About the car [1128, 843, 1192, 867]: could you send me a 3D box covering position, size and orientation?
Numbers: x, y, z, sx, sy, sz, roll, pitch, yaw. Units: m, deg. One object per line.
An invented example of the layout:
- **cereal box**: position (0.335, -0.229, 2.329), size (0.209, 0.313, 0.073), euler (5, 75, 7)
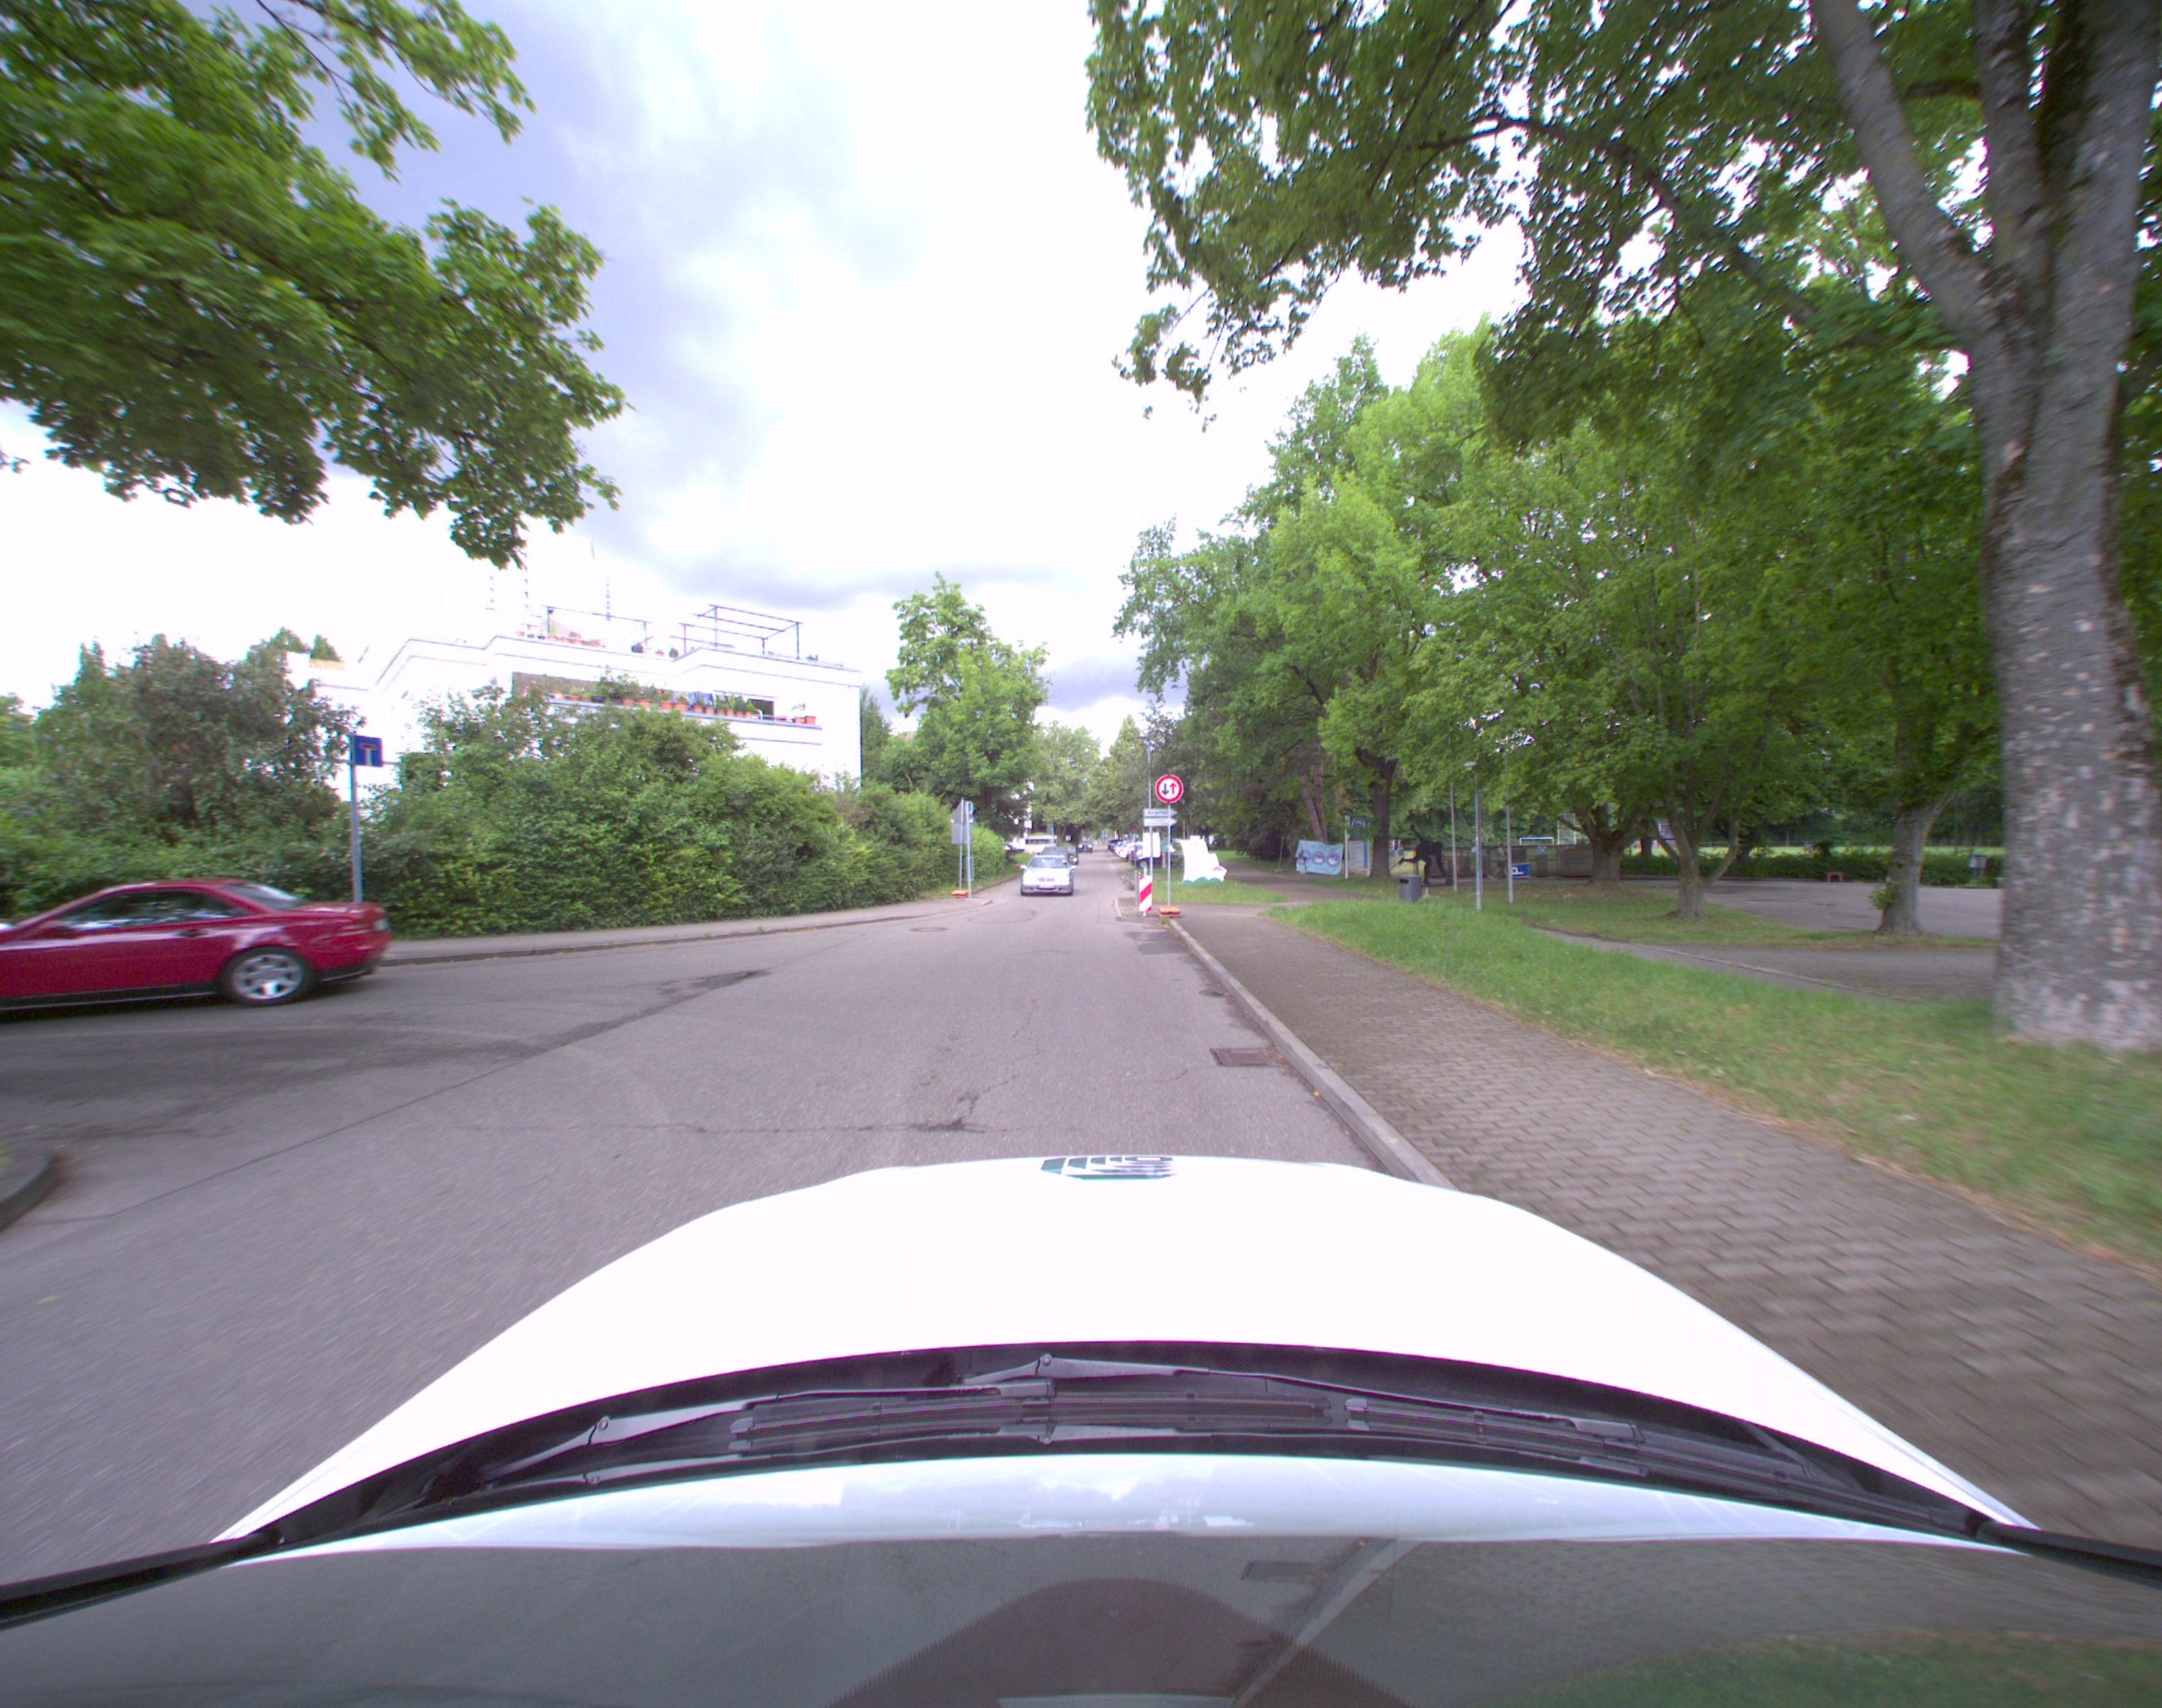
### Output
- **car**: position (5.272, 0.072, 54.664), size (4.050, 1.434, 2.000), euler (-2, -1, 0)

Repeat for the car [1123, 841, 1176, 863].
- **car**: position (5.594, -0.184, 66.716), size (4.053, 1.488, 1.821), euler (-5, 1, -3)

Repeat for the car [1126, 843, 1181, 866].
- **car**: position (5.492, 0.003, 62.193), size (4.050, 1.568, 1.822), euler (-2, 1, 0)

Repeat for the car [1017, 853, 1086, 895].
- **car**: position (-0.931, 0.645, 28.226), size (1.772, 1.306, 4.304), euler (-1, 1, 6)

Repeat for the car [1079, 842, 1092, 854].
- **car**: position (0.655, -0.928, 121.089), size (1.962, 1.747, 4.338), euler (-1, 1, 0)

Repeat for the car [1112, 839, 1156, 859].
- **car**: position (5.314, -0.518, 81.982), size (4.053, 1.687, 1.821), euler (-5, 1, -3)

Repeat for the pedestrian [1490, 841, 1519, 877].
- **pedestrian**: position (20.231, 0.232, 38.904), size (1.137, 1.674, 0.798), euler (-3, -1, 26)

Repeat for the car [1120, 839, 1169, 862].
- **car**: position (5.582, -0.322, 72.378), size (4.053, 1.687, 1.821), euler (-5, 1, -3)

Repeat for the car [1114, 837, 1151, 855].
- **car**: position (6.055, -0.949, 95.804), size (4.053, 1.687, 1.821), euler (-5, 1, -3)

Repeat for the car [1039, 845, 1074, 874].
- **car**: position (-1.387, 0.300, 48.041), size (1.796, 1.591, 4.298), euler (-1, 1, 1)

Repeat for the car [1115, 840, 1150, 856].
- **car**: position (6.398, -0.764, 101.741), size (4.053, 1.687, 1.821), euler (-5, 1, -3)

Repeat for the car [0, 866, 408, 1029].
- **car**: position (-9.509, 0.853, 8.181), size (4.082, 1.335, 1.737), euler (-1, 1, -35)

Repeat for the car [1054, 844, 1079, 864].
- **car**: position (-1.206, -0.053, 67.993), size (1.796, 1.591, 4.299), euler (-1, 1, 2)

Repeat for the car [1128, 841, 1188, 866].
- **car**: position (5.358, 0.000, 56.998), size (4.050, 1.568, 1.822), euler (-2, -1, 0)
